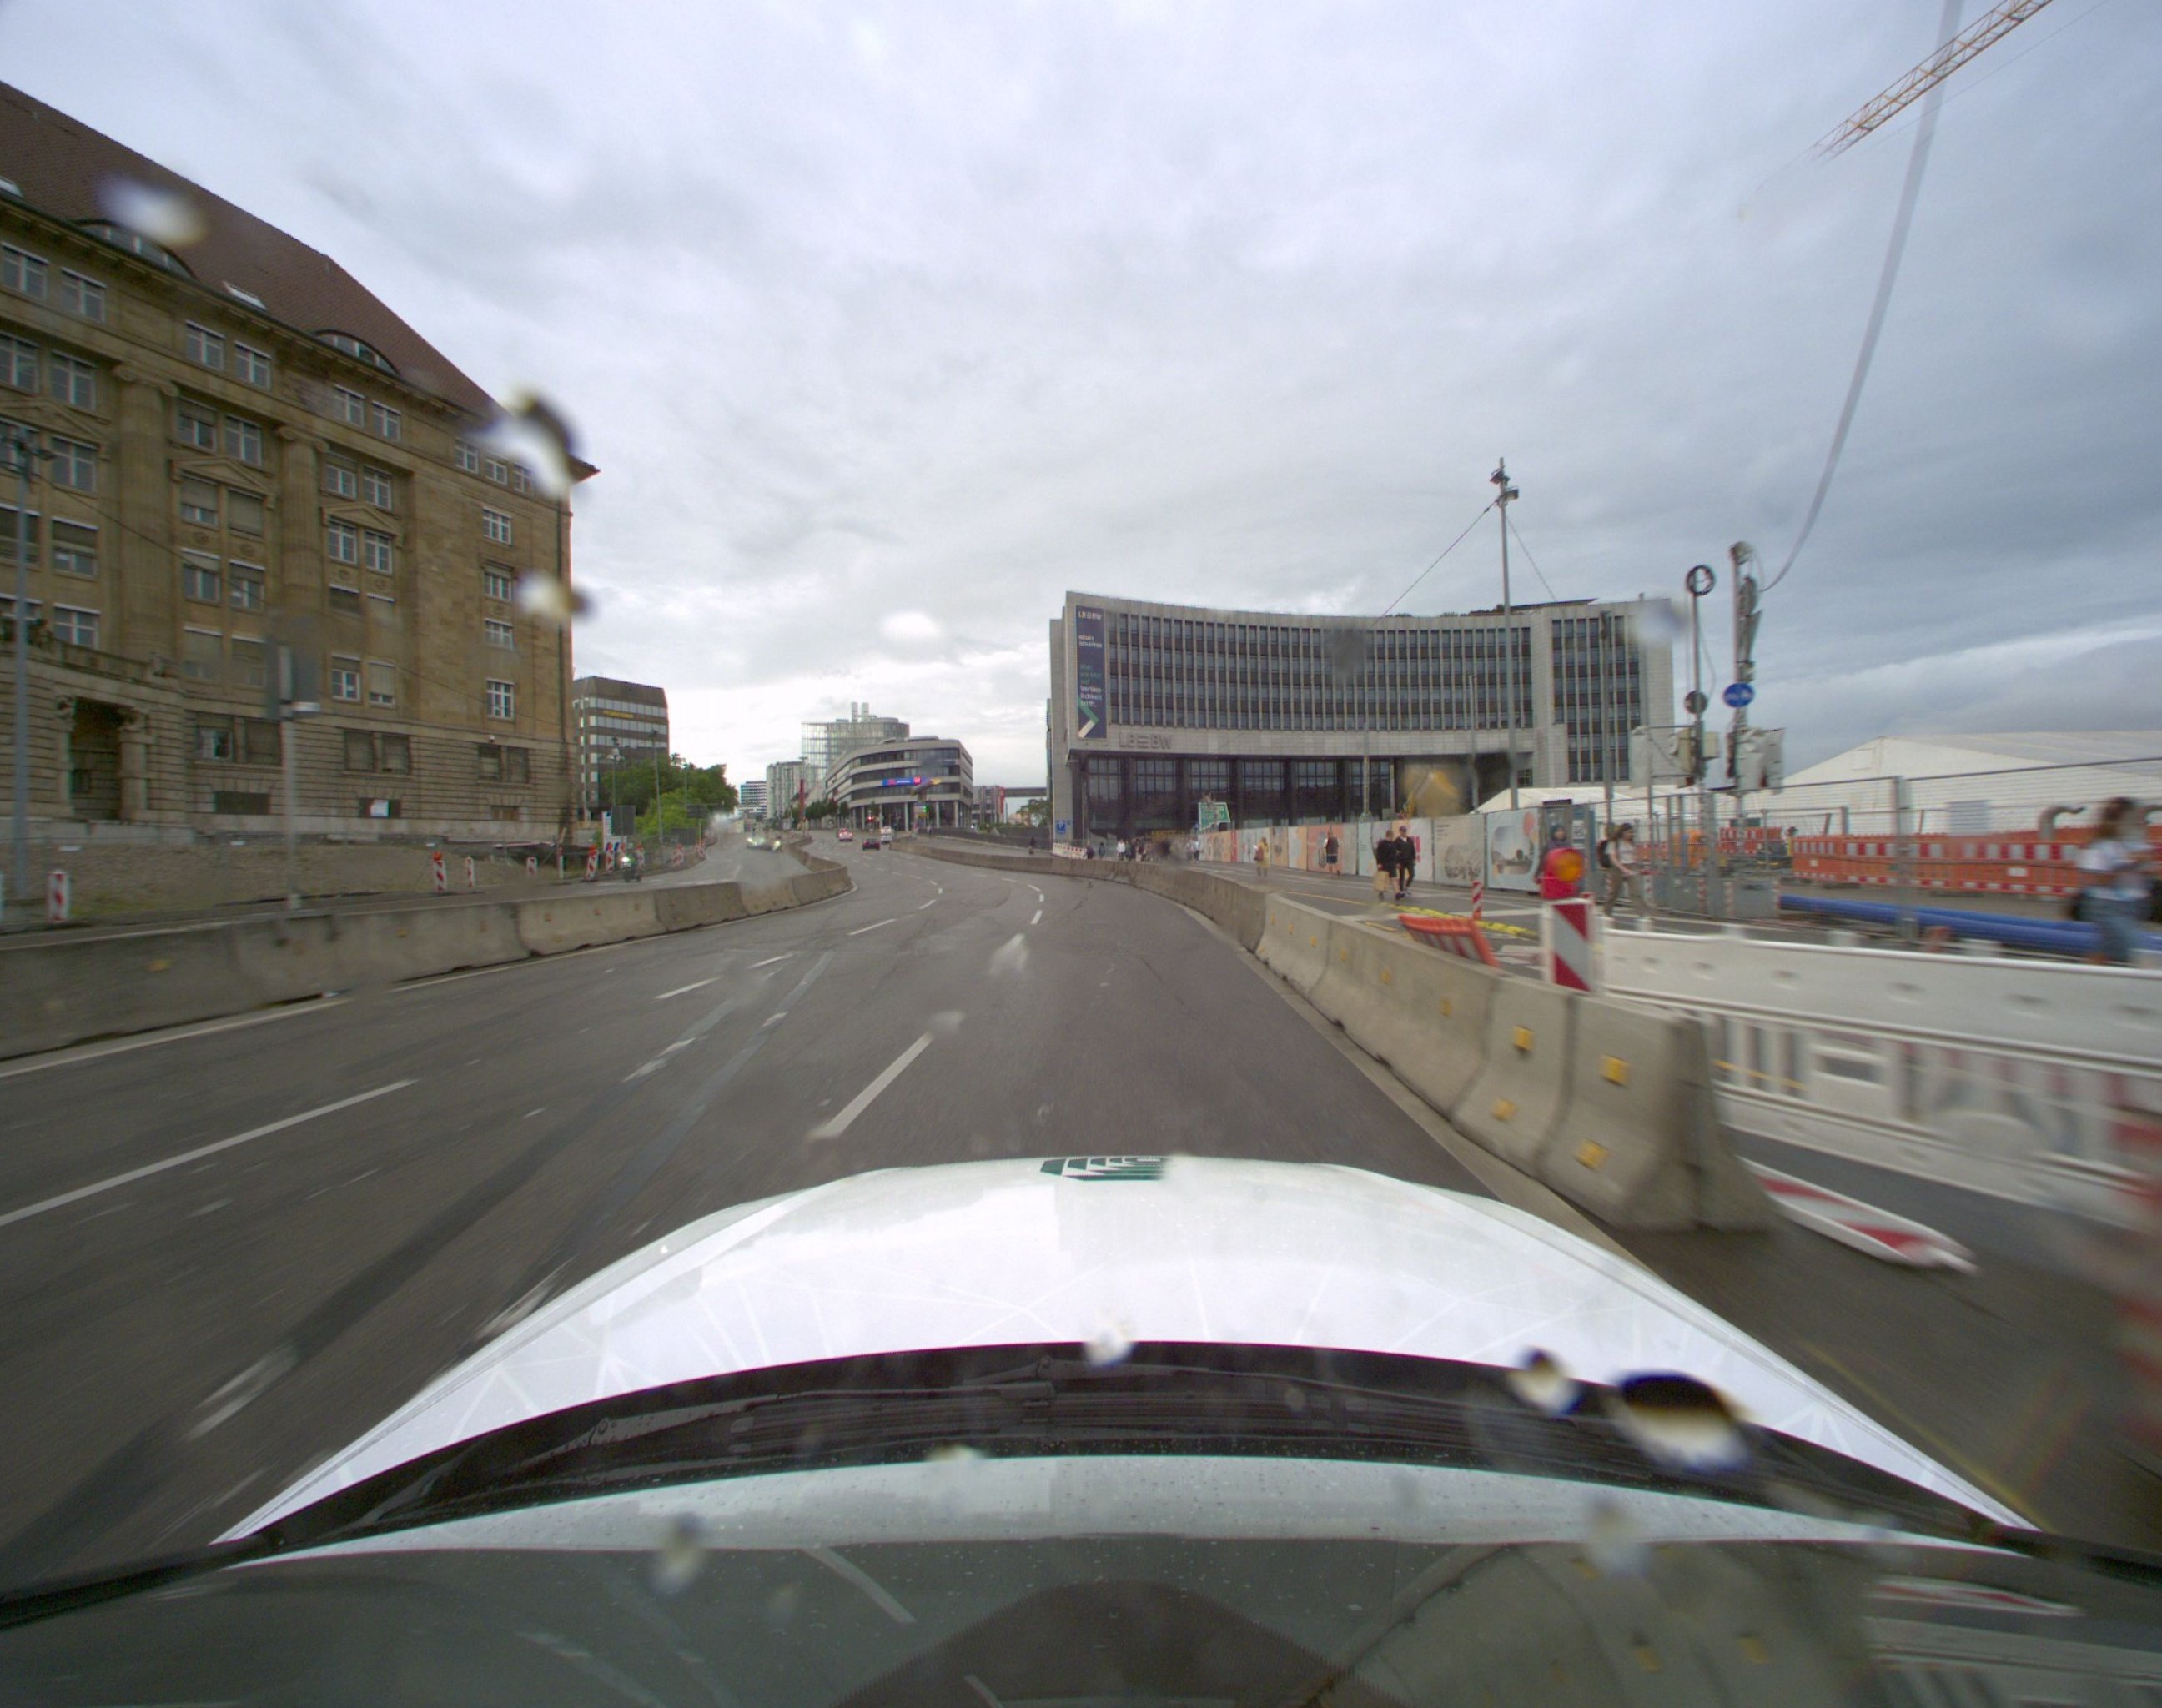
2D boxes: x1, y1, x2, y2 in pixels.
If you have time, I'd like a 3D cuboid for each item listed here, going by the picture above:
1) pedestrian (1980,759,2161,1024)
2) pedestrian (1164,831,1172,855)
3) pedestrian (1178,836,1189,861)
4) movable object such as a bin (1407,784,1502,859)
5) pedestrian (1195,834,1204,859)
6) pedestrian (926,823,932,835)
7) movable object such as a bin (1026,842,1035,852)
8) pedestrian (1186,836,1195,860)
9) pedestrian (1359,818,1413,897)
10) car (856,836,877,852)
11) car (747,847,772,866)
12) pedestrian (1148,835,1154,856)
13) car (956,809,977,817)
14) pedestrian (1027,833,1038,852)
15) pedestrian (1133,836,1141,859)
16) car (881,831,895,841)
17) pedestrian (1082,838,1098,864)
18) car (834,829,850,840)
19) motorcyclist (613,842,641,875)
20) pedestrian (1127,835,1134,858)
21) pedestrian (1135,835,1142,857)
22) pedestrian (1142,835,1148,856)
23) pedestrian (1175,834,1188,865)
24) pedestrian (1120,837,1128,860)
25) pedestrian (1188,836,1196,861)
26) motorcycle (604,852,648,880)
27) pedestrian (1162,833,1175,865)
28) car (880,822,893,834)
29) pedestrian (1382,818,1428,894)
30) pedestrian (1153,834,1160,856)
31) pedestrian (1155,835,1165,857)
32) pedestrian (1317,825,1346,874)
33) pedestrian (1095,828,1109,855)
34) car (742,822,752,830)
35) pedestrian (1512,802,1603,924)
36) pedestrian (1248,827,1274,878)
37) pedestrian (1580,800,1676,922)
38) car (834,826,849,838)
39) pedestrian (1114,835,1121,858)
[{"bbox_3d":[7.780,0.248,6.225,0.777,1.861,0.948,-1,1,-3],"label":"pedestrian"},{"bbox_3d":[6.647,-0.817,62.445,0.527,1.818,0.536,-1,1,0],"label":"pedestrian"},{"bbox_3d":[6.951,-0.372,55.027,0.623,1.704,0.647,-1,2,-1],"label":"pedestrian"},{"bbox_3d":[20.917,-1.796,45.744,3.100,4.029,3.669,-2,1,-23],"label":"movable object such as a bin"},{"bbox_3d":[8.007,-0.509,55.043,0.501,1.704,0.647,-1,2,-1],"label":"pedestrian"},{"bbox_3d":[-21.817,-3.564,116.848,0.623,1.764,0.590,-1,2,2],"label":"pedestrian"},{"bbox_3d":[-4.651,-0.653,75.031,0.600,0.933,0.737,-1,1,-21],"label":"movable object such as a bin"},{"bbox_3d":[7.662,-0.433,57.156,0.498,1.704,0.732,-1,2,-1],"label":"pedestrian"},{"bbox_3d":[7.336,0.069,19.625,0.817,1.827,1.110,-2,1,-2],"label":"pedestrian"},{"bbox_3d":[-23.352,-1.072,88.645,1.682,1.508,3.716,-1,-1,-23],"label":"car"},{"bbox_3d":[-25.572,0.227,64.649,1.609,1.352,3.723,-1,-1,-25],"label":"car"},{"bbox_3d":[5.583,-0.683,65.051,0.445,1.704,0.648,-1,2,9],"label":"pedestrian"},{"bbox_3d":[-21.241,-7.717,151.596,1.606,1.434,3.765,0,3,40],"label":"car"},{"bbox_3d":[-4.493,-1.067,75.473,0.759,1.790,1.050,-2,1,-21],"label":"pedestrian"},{"bbox_3d":[4.178,-0.503,60.904,0.447,1.704,0.646,-1,2,-4],"label":"pedestrian"},{"bbox_3d":[-25.721,-2.424,108.414,1.827,1.352,3.848,-2,2,-14],"label":"car"},{"bbox_3d":[0.560,-0.195,50.790,0.751,1.641,0.820,-2,1,-12],"label":"pedestrian"},{"bbox_3d":[-34.643,-2.886,117.972,1.750,1.506,3.723,-2,1,-25],"label":"car"},{"bbox_3d":[-20.377,0.201,36.552,0.797,1.451,0.824,-2,1,-6],"label":"motorcyclist"},{"bbox_3d":[3.710,-0.562,60.816,0.452,1.704,0.646,-1,2,-4],"label":"pedestrian"},{"bbox_3d":[4.630,-0.658,65.228,0.445,1.704,0.648,-1,2,9],"label":"pedestrian"},{"bbox_3d":[5.112,-0.685,65.110,0.445,1.704,0.648,-1,2,9],"label":"pedestrian"},{"bbox_3d":[6.540,-0.312,53.053,0.780,2.013,0.865,-1,2,7],"label":"pedestrian"},{"bbox_3d":[3.216,-0.410,60.726,0.447,1.704,0.646,-1,2,-4],"label":"pedestrian"},{"bbox_3d":[7.507,-0.372,55.044,0.447,1.704,0.647,-1,2,-1],"label":"pedestrian"},{"bbox_3d":[-20.389,0.525,36.560,0.868,1.148,2.150,-2,1,-6],"label":"motorcycle"},{"bbox_3d":[5.705,-0.337,53.108,0.780,2.013,0.865,-1,2,7],"label":"pedestrian"},{"bbox_3d":[-32.370,-4.325,135.420,1.996,1.804,4.247,-2,2,-13],"label":"car"},{"bbox_3d":[8.137,0.046,20.495,0.777,1.861,0.811,-1,1,-3],"label":"pedestrian"},{"bbox_3d":[6.038,-0.694,64.877,0.445,1.704,0.648,-1,2,9],"label":"pedestrian"},{"bbox_3d":[6.190,-0.638,63.744,0.515,1.704,0.568,-2,2,-37],"label":"pedestrian"},{"bbox_3d":[9.737,-0.189,31.675,0.777,1.861,0.811,-3,1,-3],"label":"pedestrian"},{"bbox_3d":[1.306,-0.786,50.947,0.659,1.641,0.820,-2,1,-12],"label":"pedestrian"},{"bbox_3d":[-62.234,-5.242,151.808,1.607,1.352,3.727,-1,-1,-21],"label":"car"},{"bbox_3d":[7.641,0.124,13.094,0.868,1.861,0.948,-1,1,-3],"label":"pedestrian"},{"bbox_3d":[6.652,-0.052,30.076,0.730,1.854,0.831,-1,1,-1],"label":"pedestrian"},{"bbox_3d":[8.726,0.094,13.032,0.777,1.861,1.057,-1,1,-3],"label":"pedestrian"},{"bbox_3d":[-38.331,-3.475,130.577,1.996,1.804,4.247,-2,2,-13],"label":"car"},{"bbox_3d":[2.714,-0.560,60.618,0.447,1.704,0.646,-1,2,-4],"label":"pedestrian"}]
